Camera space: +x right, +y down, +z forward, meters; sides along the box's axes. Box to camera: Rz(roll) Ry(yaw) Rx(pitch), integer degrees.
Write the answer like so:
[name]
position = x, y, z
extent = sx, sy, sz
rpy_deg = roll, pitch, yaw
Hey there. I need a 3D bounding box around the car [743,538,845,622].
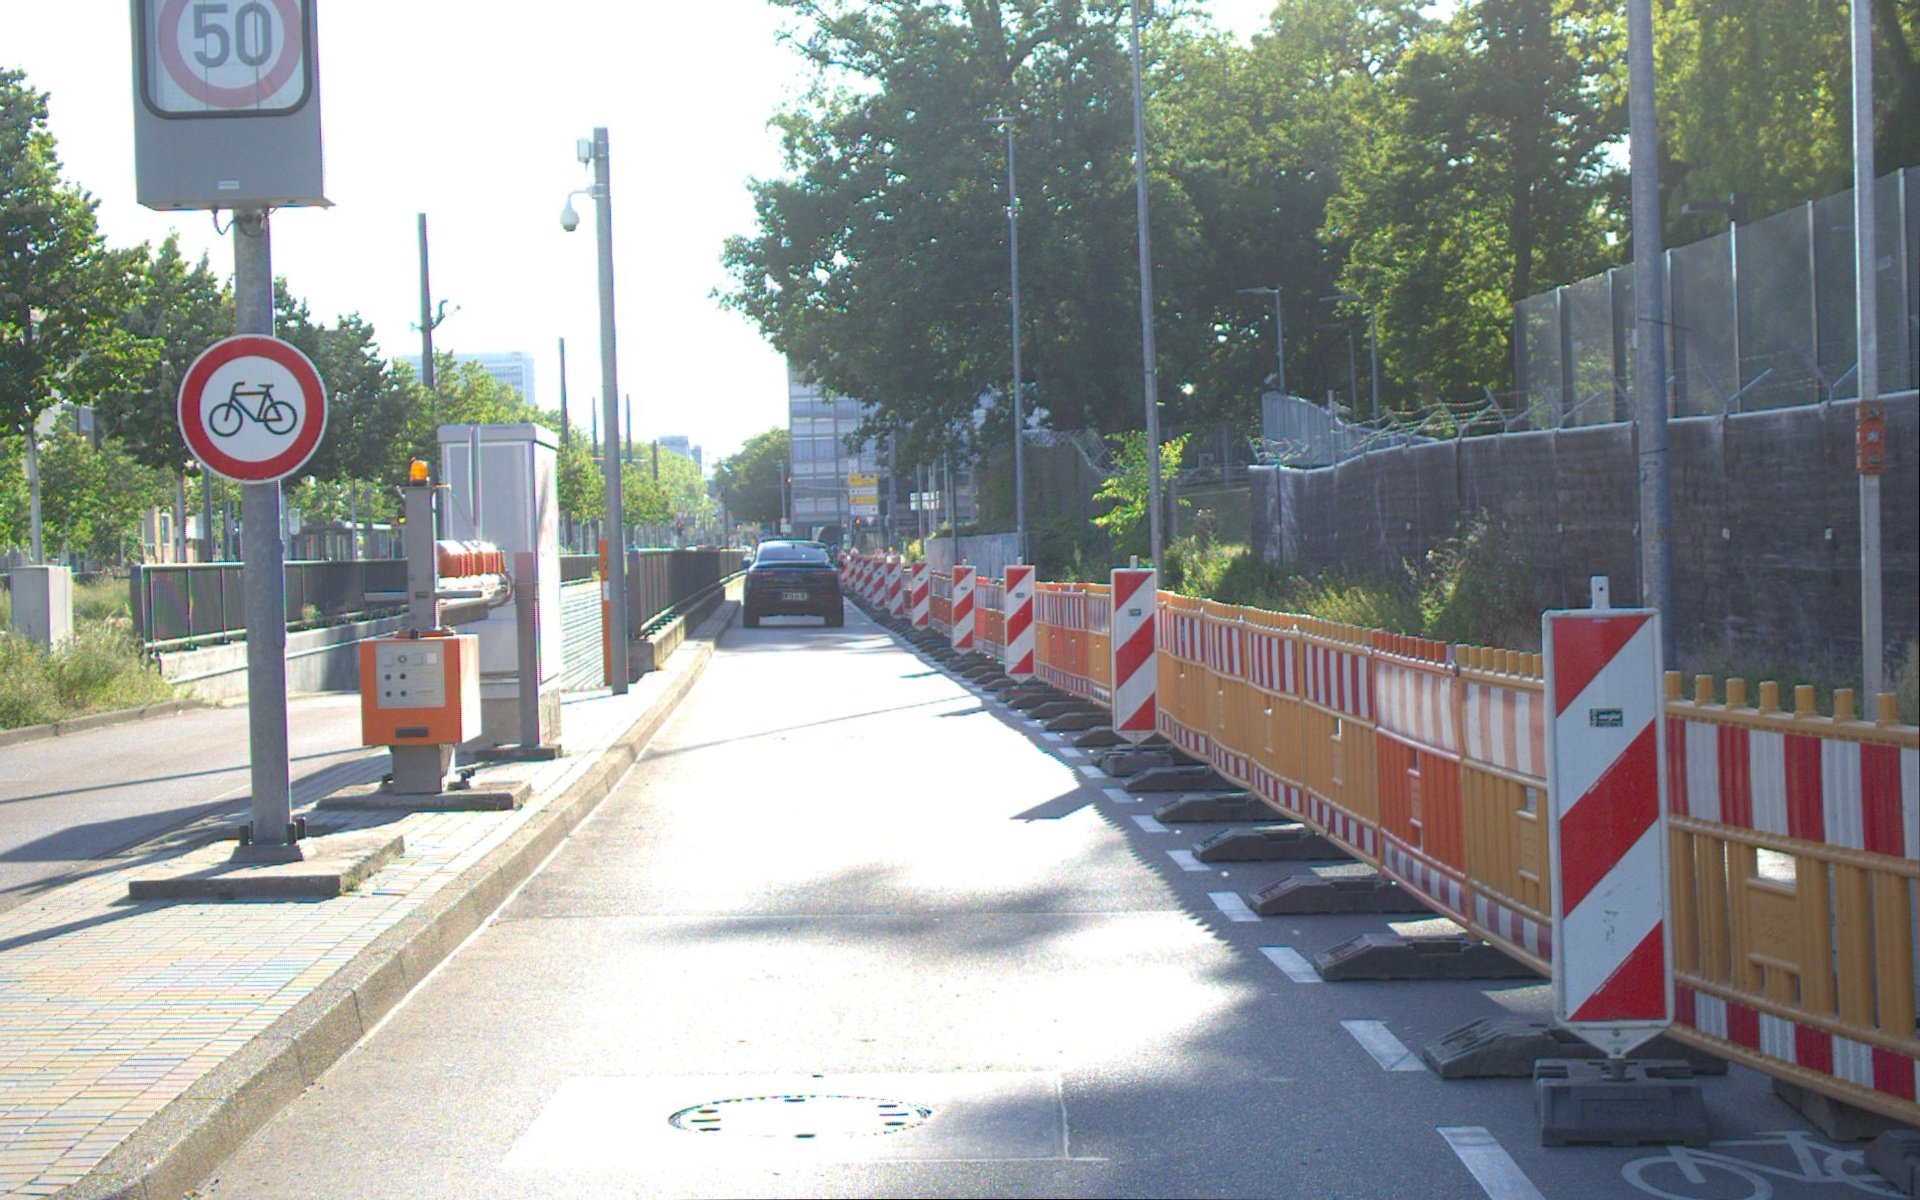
[car]
position = -3.352, -0.413, 69.840
extent = 2.005, 1.653, 4.000
rpy_deg = 0, 0, -2
